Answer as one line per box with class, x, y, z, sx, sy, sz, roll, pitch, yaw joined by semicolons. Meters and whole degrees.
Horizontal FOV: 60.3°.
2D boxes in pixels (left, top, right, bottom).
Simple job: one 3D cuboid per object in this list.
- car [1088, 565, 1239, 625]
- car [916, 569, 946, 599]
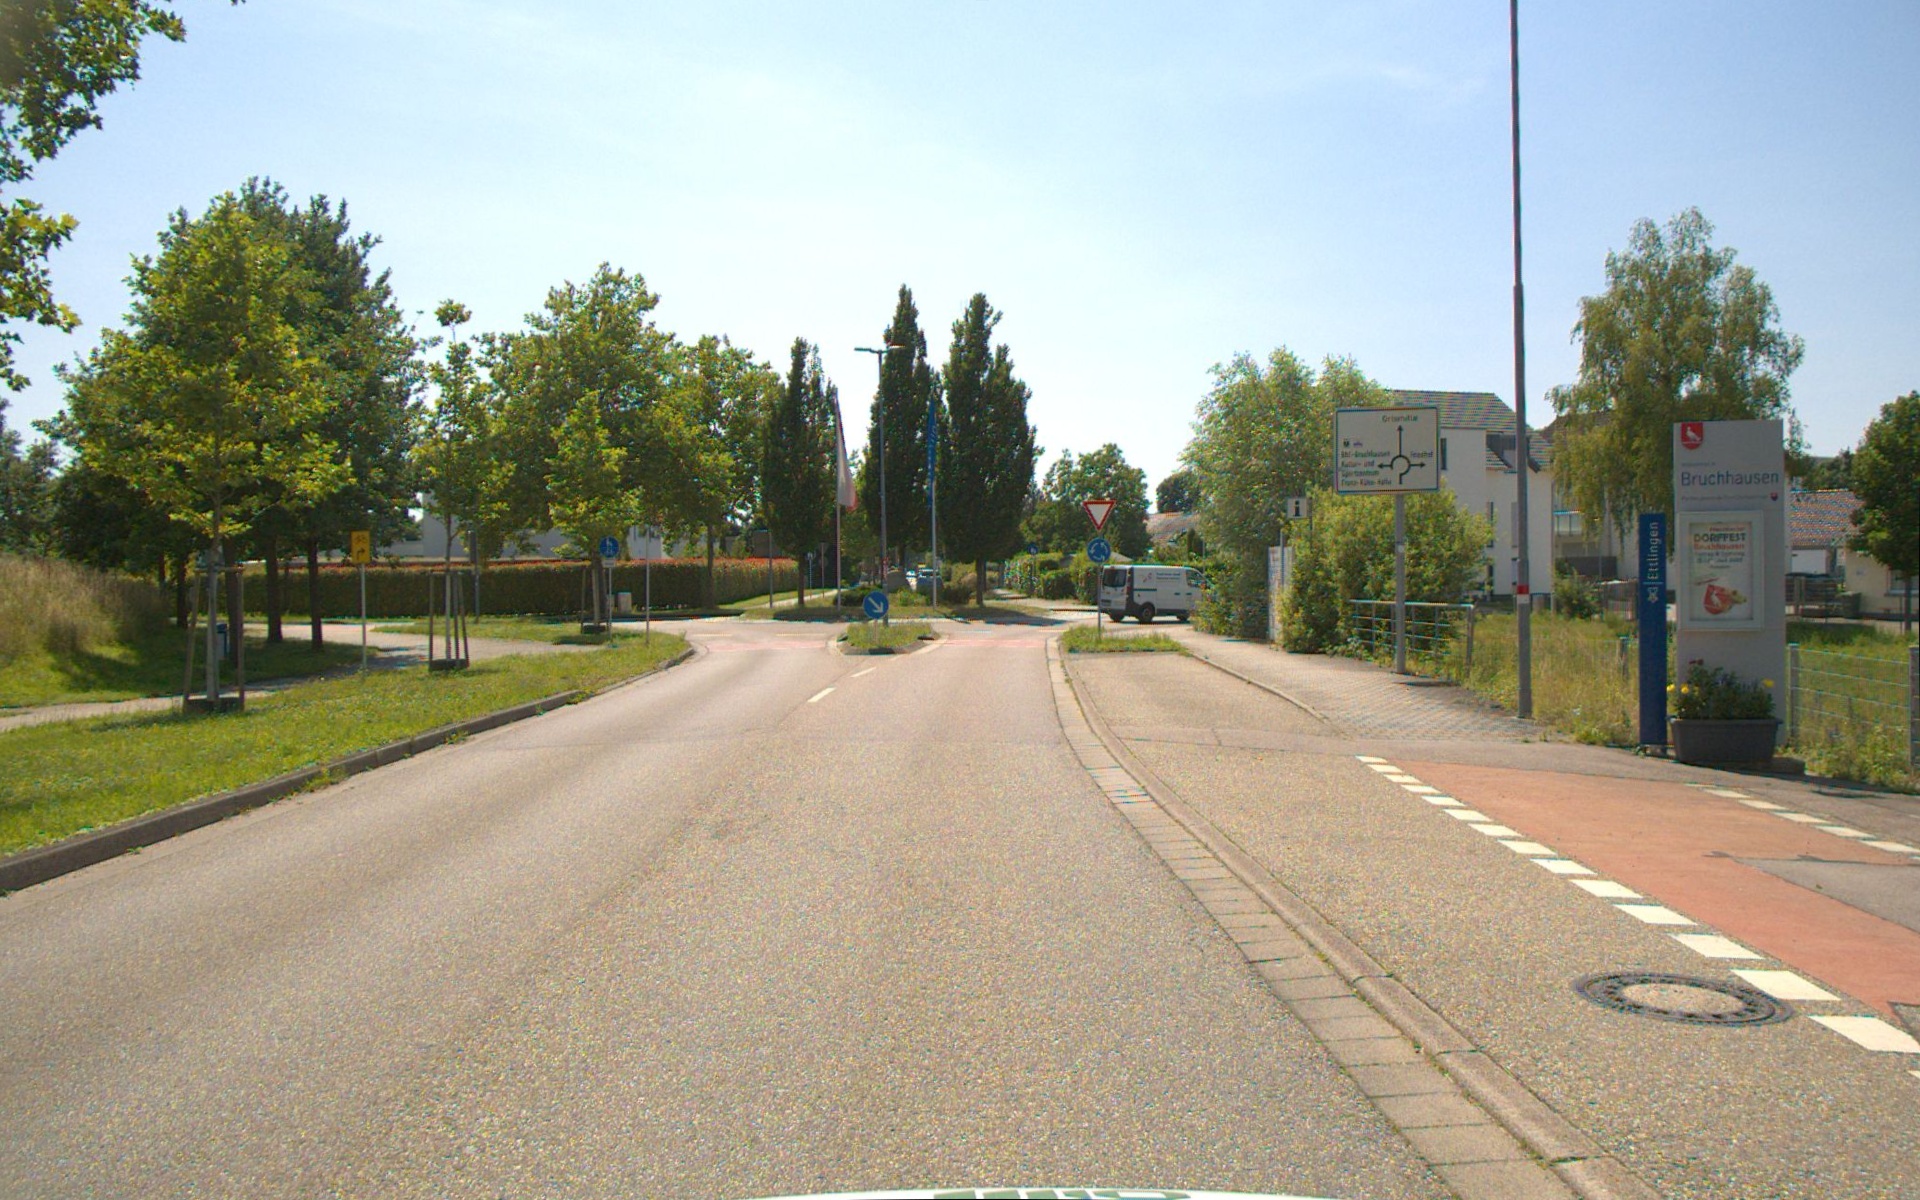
car;7.276;-0.178;59.021;5.074;2.049;2.114;0;0;-29
car;-1.906;-1.023;107.542;1.884;1.919;3.999;1;0;-2
